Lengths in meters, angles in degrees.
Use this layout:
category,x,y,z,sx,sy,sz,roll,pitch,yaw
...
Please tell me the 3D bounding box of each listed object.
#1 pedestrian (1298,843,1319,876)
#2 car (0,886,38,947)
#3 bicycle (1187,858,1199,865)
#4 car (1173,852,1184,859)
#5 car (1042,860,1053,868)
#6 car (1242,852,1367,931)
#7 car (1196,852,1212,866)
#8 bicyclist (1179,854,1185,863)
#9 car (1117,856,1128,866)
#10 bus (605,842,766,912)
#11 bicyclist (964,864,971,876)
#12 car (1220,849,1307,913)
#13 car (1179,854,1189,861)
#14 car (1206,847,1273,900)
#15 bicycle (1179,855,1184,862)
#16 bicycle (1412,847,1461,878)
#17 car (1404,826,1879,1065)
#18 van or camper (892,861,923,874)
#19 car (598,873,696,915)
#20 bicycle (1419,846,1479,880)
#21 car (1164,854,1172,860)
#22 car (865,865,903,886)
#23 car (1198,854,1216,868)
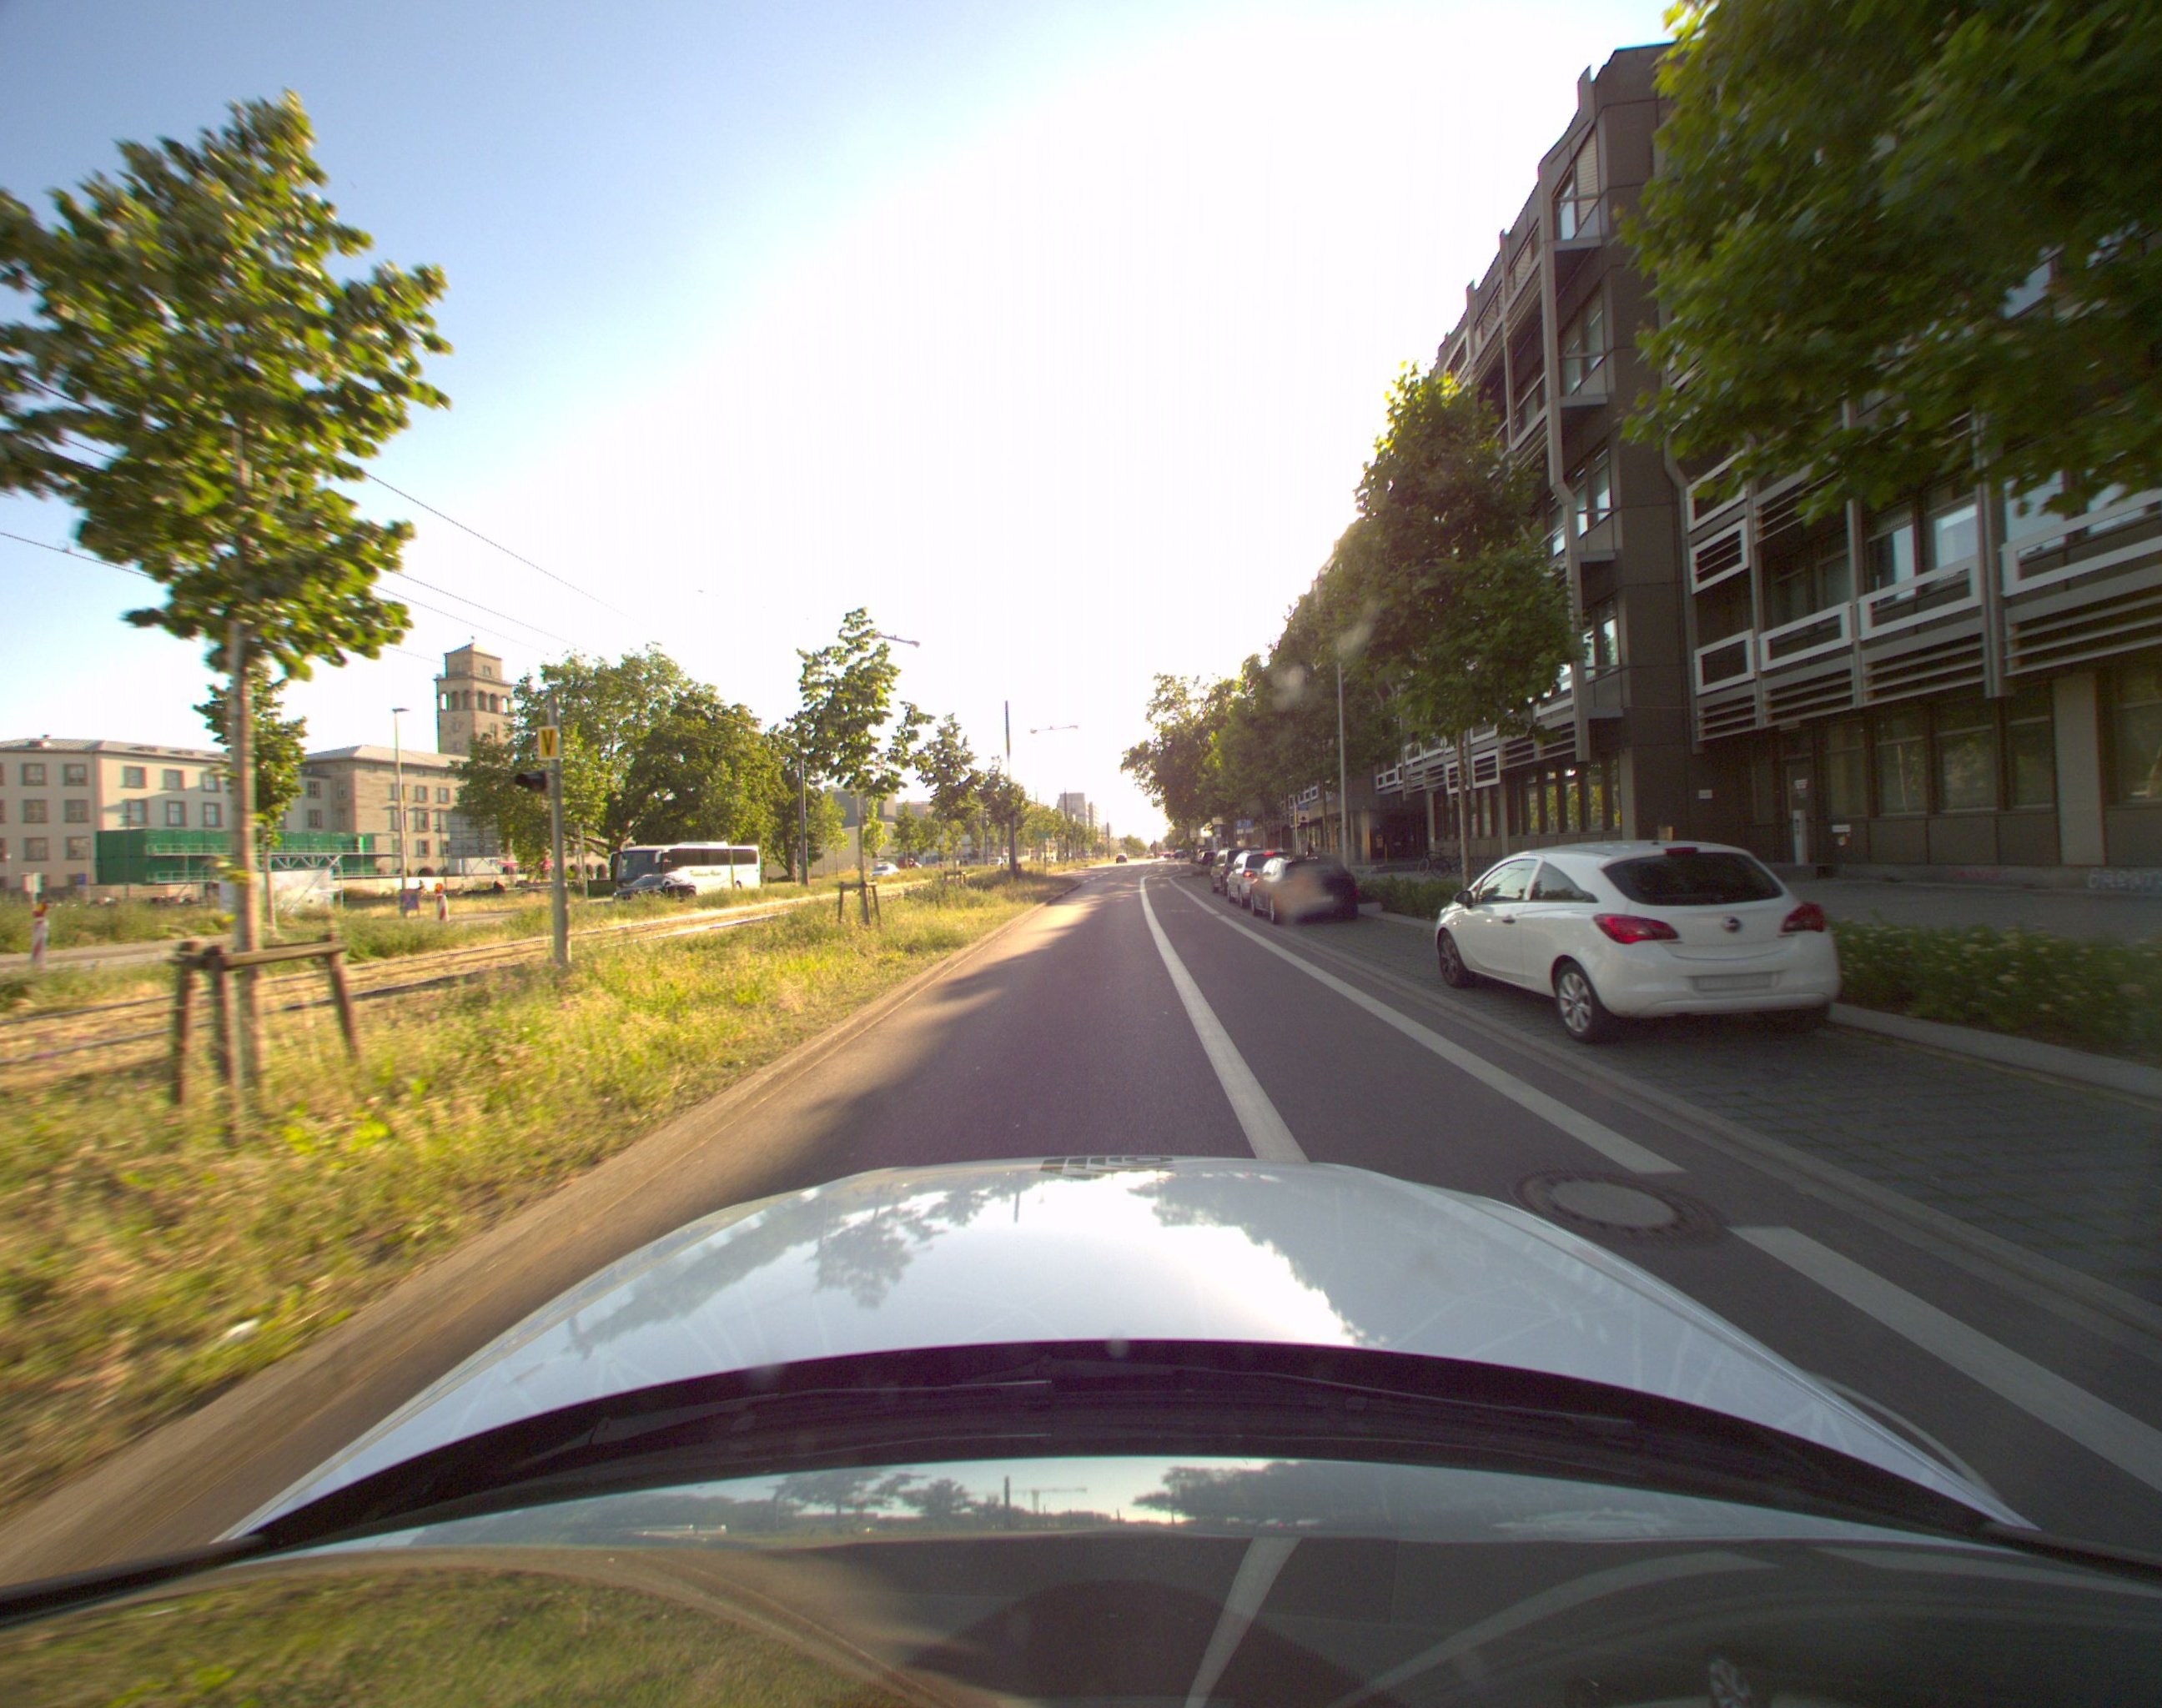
category,x,y,z,sx,sy,sz,roll,pitch,yaw
pedestrian,11.868,0.306,42.498,0.786,1.648,1.138,-3,-1,4
car,-33.433,1.894,23.045,5.206,1.717,2.126,-2,0,2
bicycle,16.117,1.102,117.331,1.680,0.867,0.574,-4,-1,14
car,20.092,0.306,167.972,1.931,1.428,3.930,-2,0,4
car,-8.129,2.417,197.560,1.984,1.776,4.006,-2,0,6
car,4.881,0.753,18.431,1.787,1.449,4.380,-4,0,4
car,15.548,0.600,102.780,1.671,1.514,5.073,-5,0,10
bicyclist,17.416,0.753,140.539,0.797,1.602,0.786,-2,0,3
car,6.746,1.125,132.169,1.769,1.428,4.005,-1,0,4
bus,-23.492,1.238,49.652,2.787,3.595,12.711,-2,0,4
bicyclist,-16.039,2.259,114.744,0.684,1.708,0.955,-2,0,5
car,5.313,0.724,24.251,1.721,1.621,4.219,-4,0,3
car,23.588,0.870,186.155,1.931,1.485,3.930,-2,0,4
car,5.824,0.677,30.371,1.721,1.688,4.517,-4,0,3
bicycle,17.343,0.786,140.781,0.795,1.204,2.268,-2,0,7
bicycle,13.543,0.319,31.034,1.619,1.082,0.393,-3,-1,5
car,4.580,0.616,7.565,1.656,1.490,4.208,-4,0,4
van or camper,-35.696,2.699,167.599,5.630,2.414,2.159,-2,0,7
car,-19.639,1.767,37.112,1.985,1.651,4.274,-2,0,3
bicycle,12.985,0.318,28.715,1.895,1.093,0.392,-4,-1,-2
car,23.180,0.718,217.315,1.751,1.485,3.854,-2,0,4
car,-17.068,1.832,70.796,1.985,1.643,4.171,-2,0,3
car,14.046,0.722,91.053,1.698,1.418,4.284,-5,0,6
